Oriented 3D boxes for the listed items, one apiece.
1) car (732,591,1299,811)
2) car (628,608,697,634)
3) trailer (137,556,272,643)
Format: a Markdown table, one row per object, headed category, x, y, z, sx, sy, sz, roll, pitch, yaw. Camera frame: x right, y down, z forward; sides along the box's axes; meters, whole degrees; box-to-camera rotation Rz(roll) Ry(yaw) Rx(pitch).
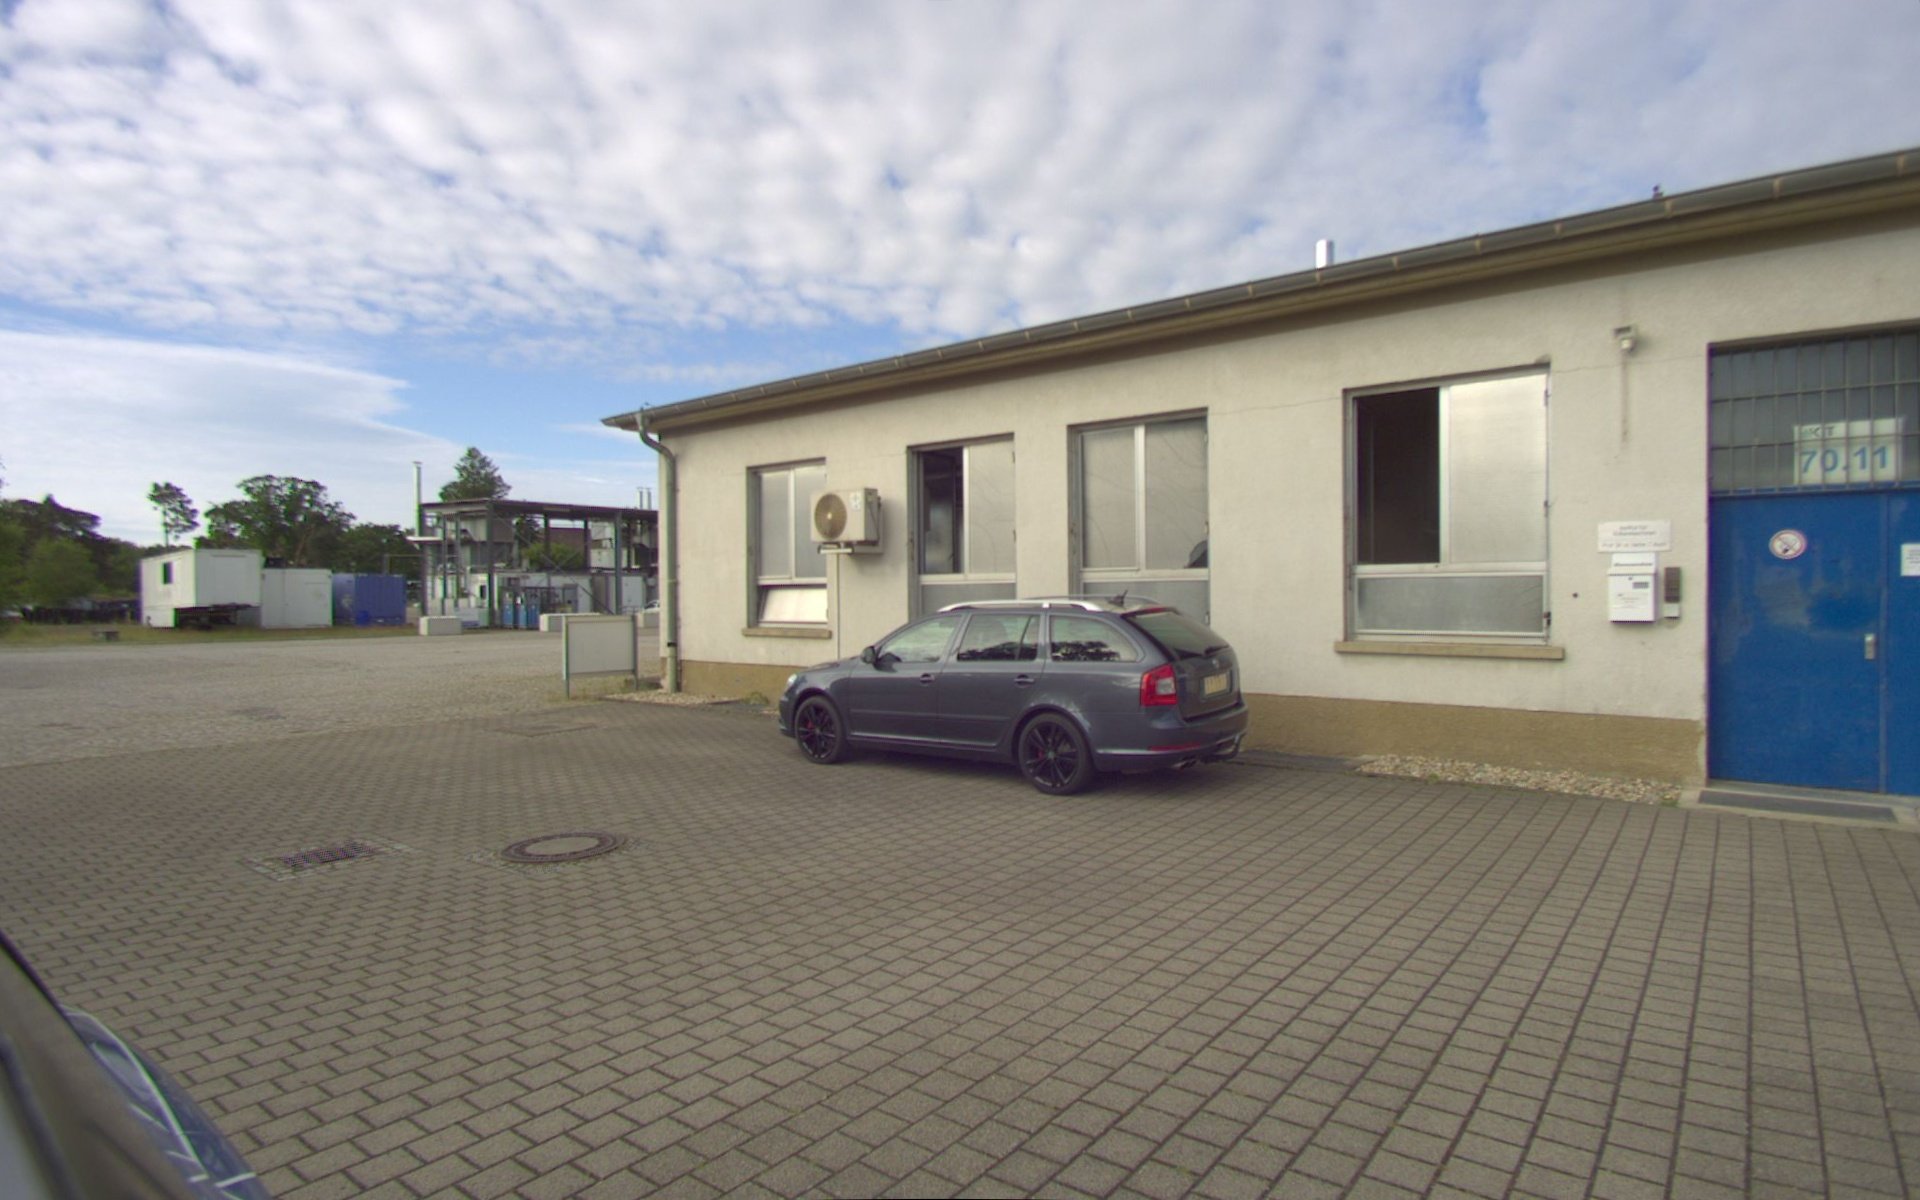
| category | x | y | z | sx | sy | sz | roll | pitch | yaw |
| --- | --- | --- | --- | --- | --- | --- | --- | --- | --- |
| car | 0.293 | 0.706 | 8.993 | 4.803 | 1.472 | 1.906 | -1 | -1 | 38 |
| car | -17.646 | 1.248 | 59.941 | 3.992 | 1.484 | 1.911 | 0 | -2 | 36 |
| trailer | -35.508 | 0.041 | 47.357 | 10.771 | 3.690 | 2.839 | -1 | -1 | 41 |
